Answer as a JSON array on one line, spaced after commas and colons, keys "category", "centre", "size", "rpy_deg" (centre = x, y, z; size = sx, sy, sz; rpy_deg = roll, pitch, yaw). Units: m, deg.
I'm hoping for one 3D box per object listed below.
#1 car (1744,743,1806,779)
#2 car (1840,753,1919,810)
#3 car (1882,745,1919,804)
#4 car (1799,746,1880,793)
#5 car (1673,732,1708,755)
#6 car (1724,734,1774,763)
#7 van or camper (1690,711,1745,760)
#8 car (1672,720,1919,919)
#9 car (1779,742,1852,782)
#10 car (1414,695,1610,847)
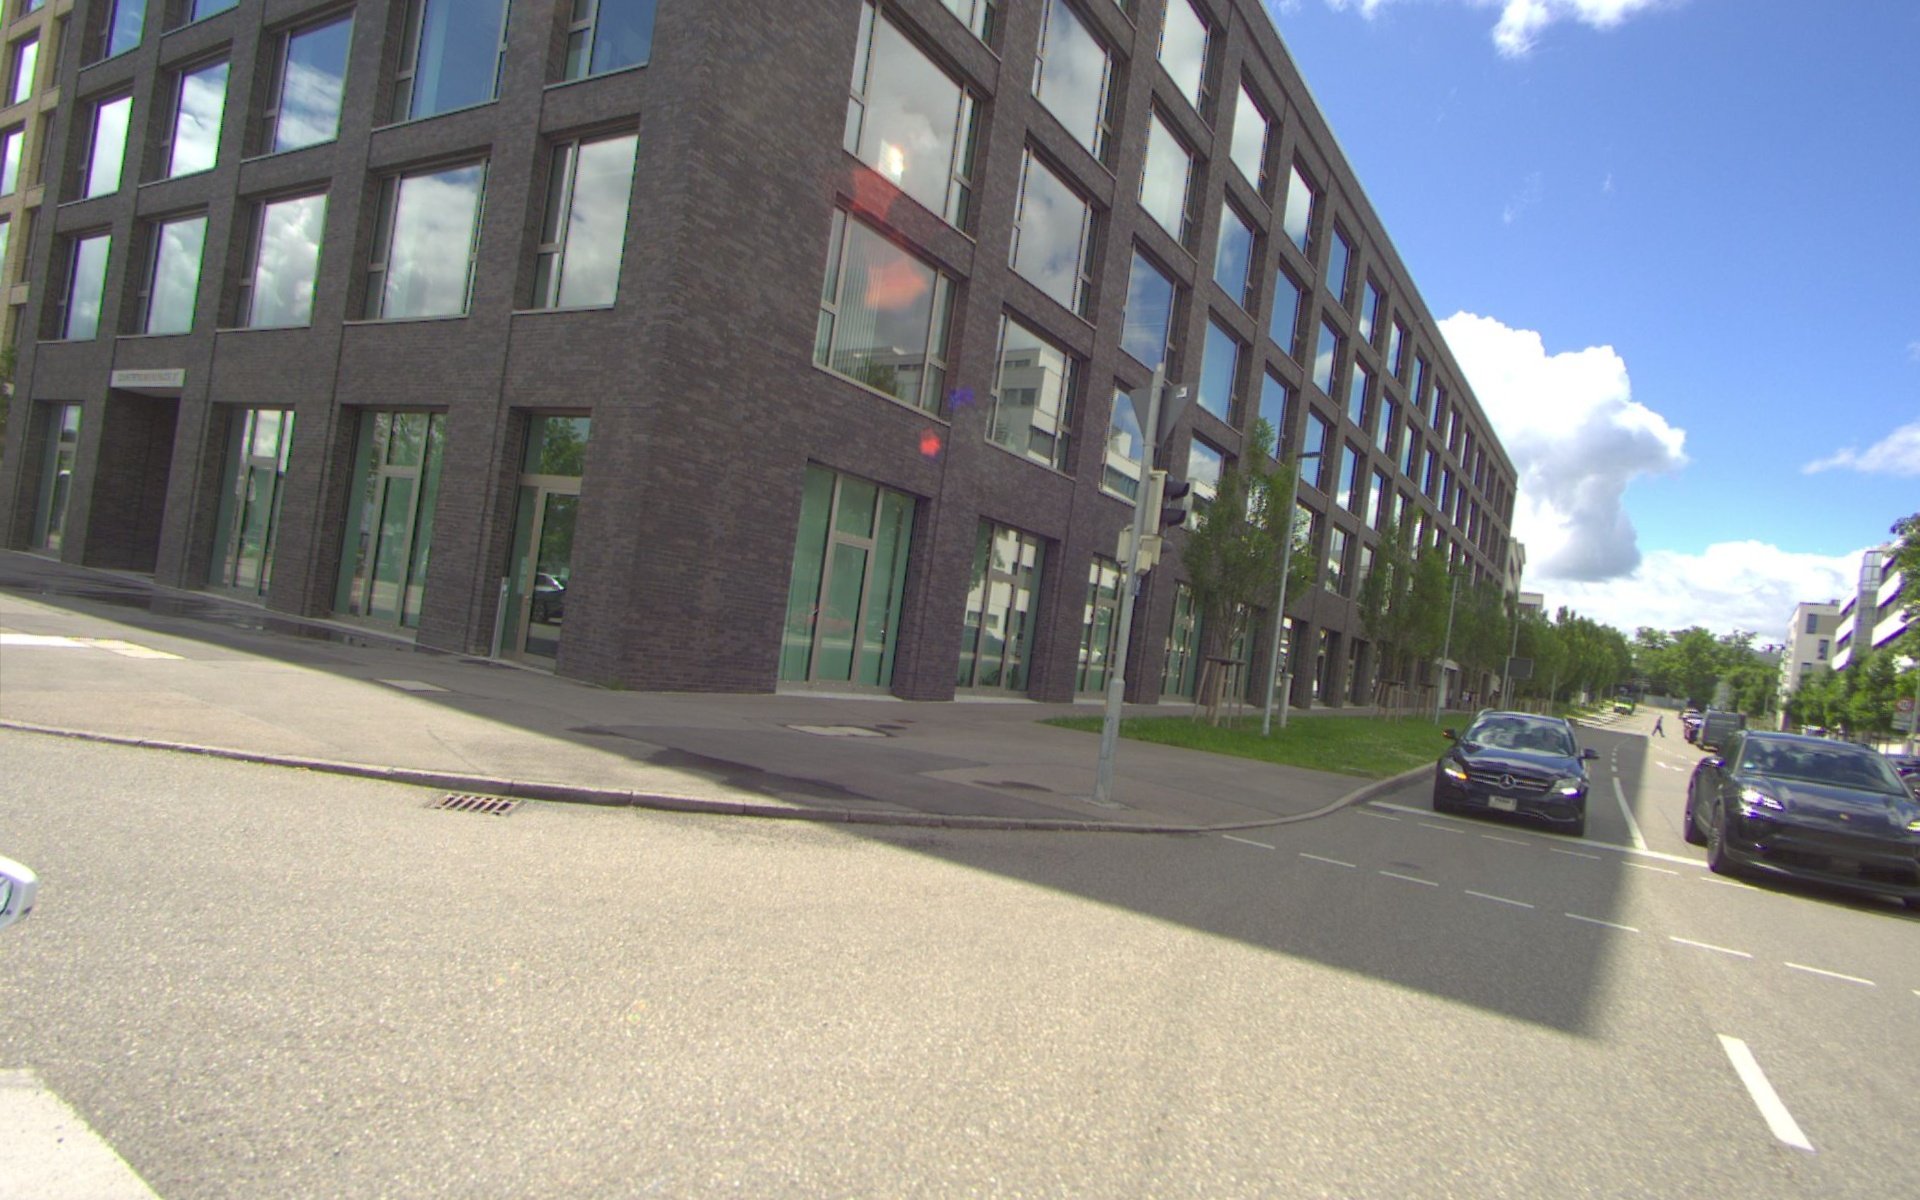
[{"category": "car", "centre": [38.651, 7.611, 47.776], "size": [1.471, 1.354, 3.538], "rpy_deg": [8, -3, 28]}, {"category": "car", "centre": [31.992, 6.208, 34.264], "size": [1.838, 1.478, 4.311], "rpy_deg": [7, -2, 26]}, {"category": "car", "centre": [28.948, 5.277, 29.275], "size": [1.838, 1.588, 4.311], "rpy_deg": [8, -2, 26]}, {"category": "car", "centre": [34.593, 6.636, 39.664], "size": [1.471, 1.477, 3.538], "rpy_deg": [8, -3, 28]}, {"category": "car", "centre": [54.560, 10.671, 75.156], "size": [1.471, 1.355, 3.536], "rpy_deg": [8, -2, 28]}, {"category": "car", "centre": [45.422, 8.542, 57.976], "size": [1.471, 1.354, 3.538], "rpy_deg": [8, -3, 28]}, {"category": "van or camper", "centre": [49.653, 8.840, 66.046], "size": [1.966, 2.769, 5.118], "rpy_deg": [8, -1, 30]}, {"category": "car", "centre": [10.050, 2.429, 12.028], "size": [1.967, 1.637, 4.649], "rpy_deg": [8, -2, 31]}, {"category": "car", "centre": [36.564, 6.888, 43.063], "size": [1.471, 1.354, 3.538], "rpy_deg": [8, -3, 28]}, {"category": "car", "centre": [7.925, 2.292, 14.320], "size": [1.967, 1.509, 4.533], "rpy_deg": [7, -2, 32]}]
